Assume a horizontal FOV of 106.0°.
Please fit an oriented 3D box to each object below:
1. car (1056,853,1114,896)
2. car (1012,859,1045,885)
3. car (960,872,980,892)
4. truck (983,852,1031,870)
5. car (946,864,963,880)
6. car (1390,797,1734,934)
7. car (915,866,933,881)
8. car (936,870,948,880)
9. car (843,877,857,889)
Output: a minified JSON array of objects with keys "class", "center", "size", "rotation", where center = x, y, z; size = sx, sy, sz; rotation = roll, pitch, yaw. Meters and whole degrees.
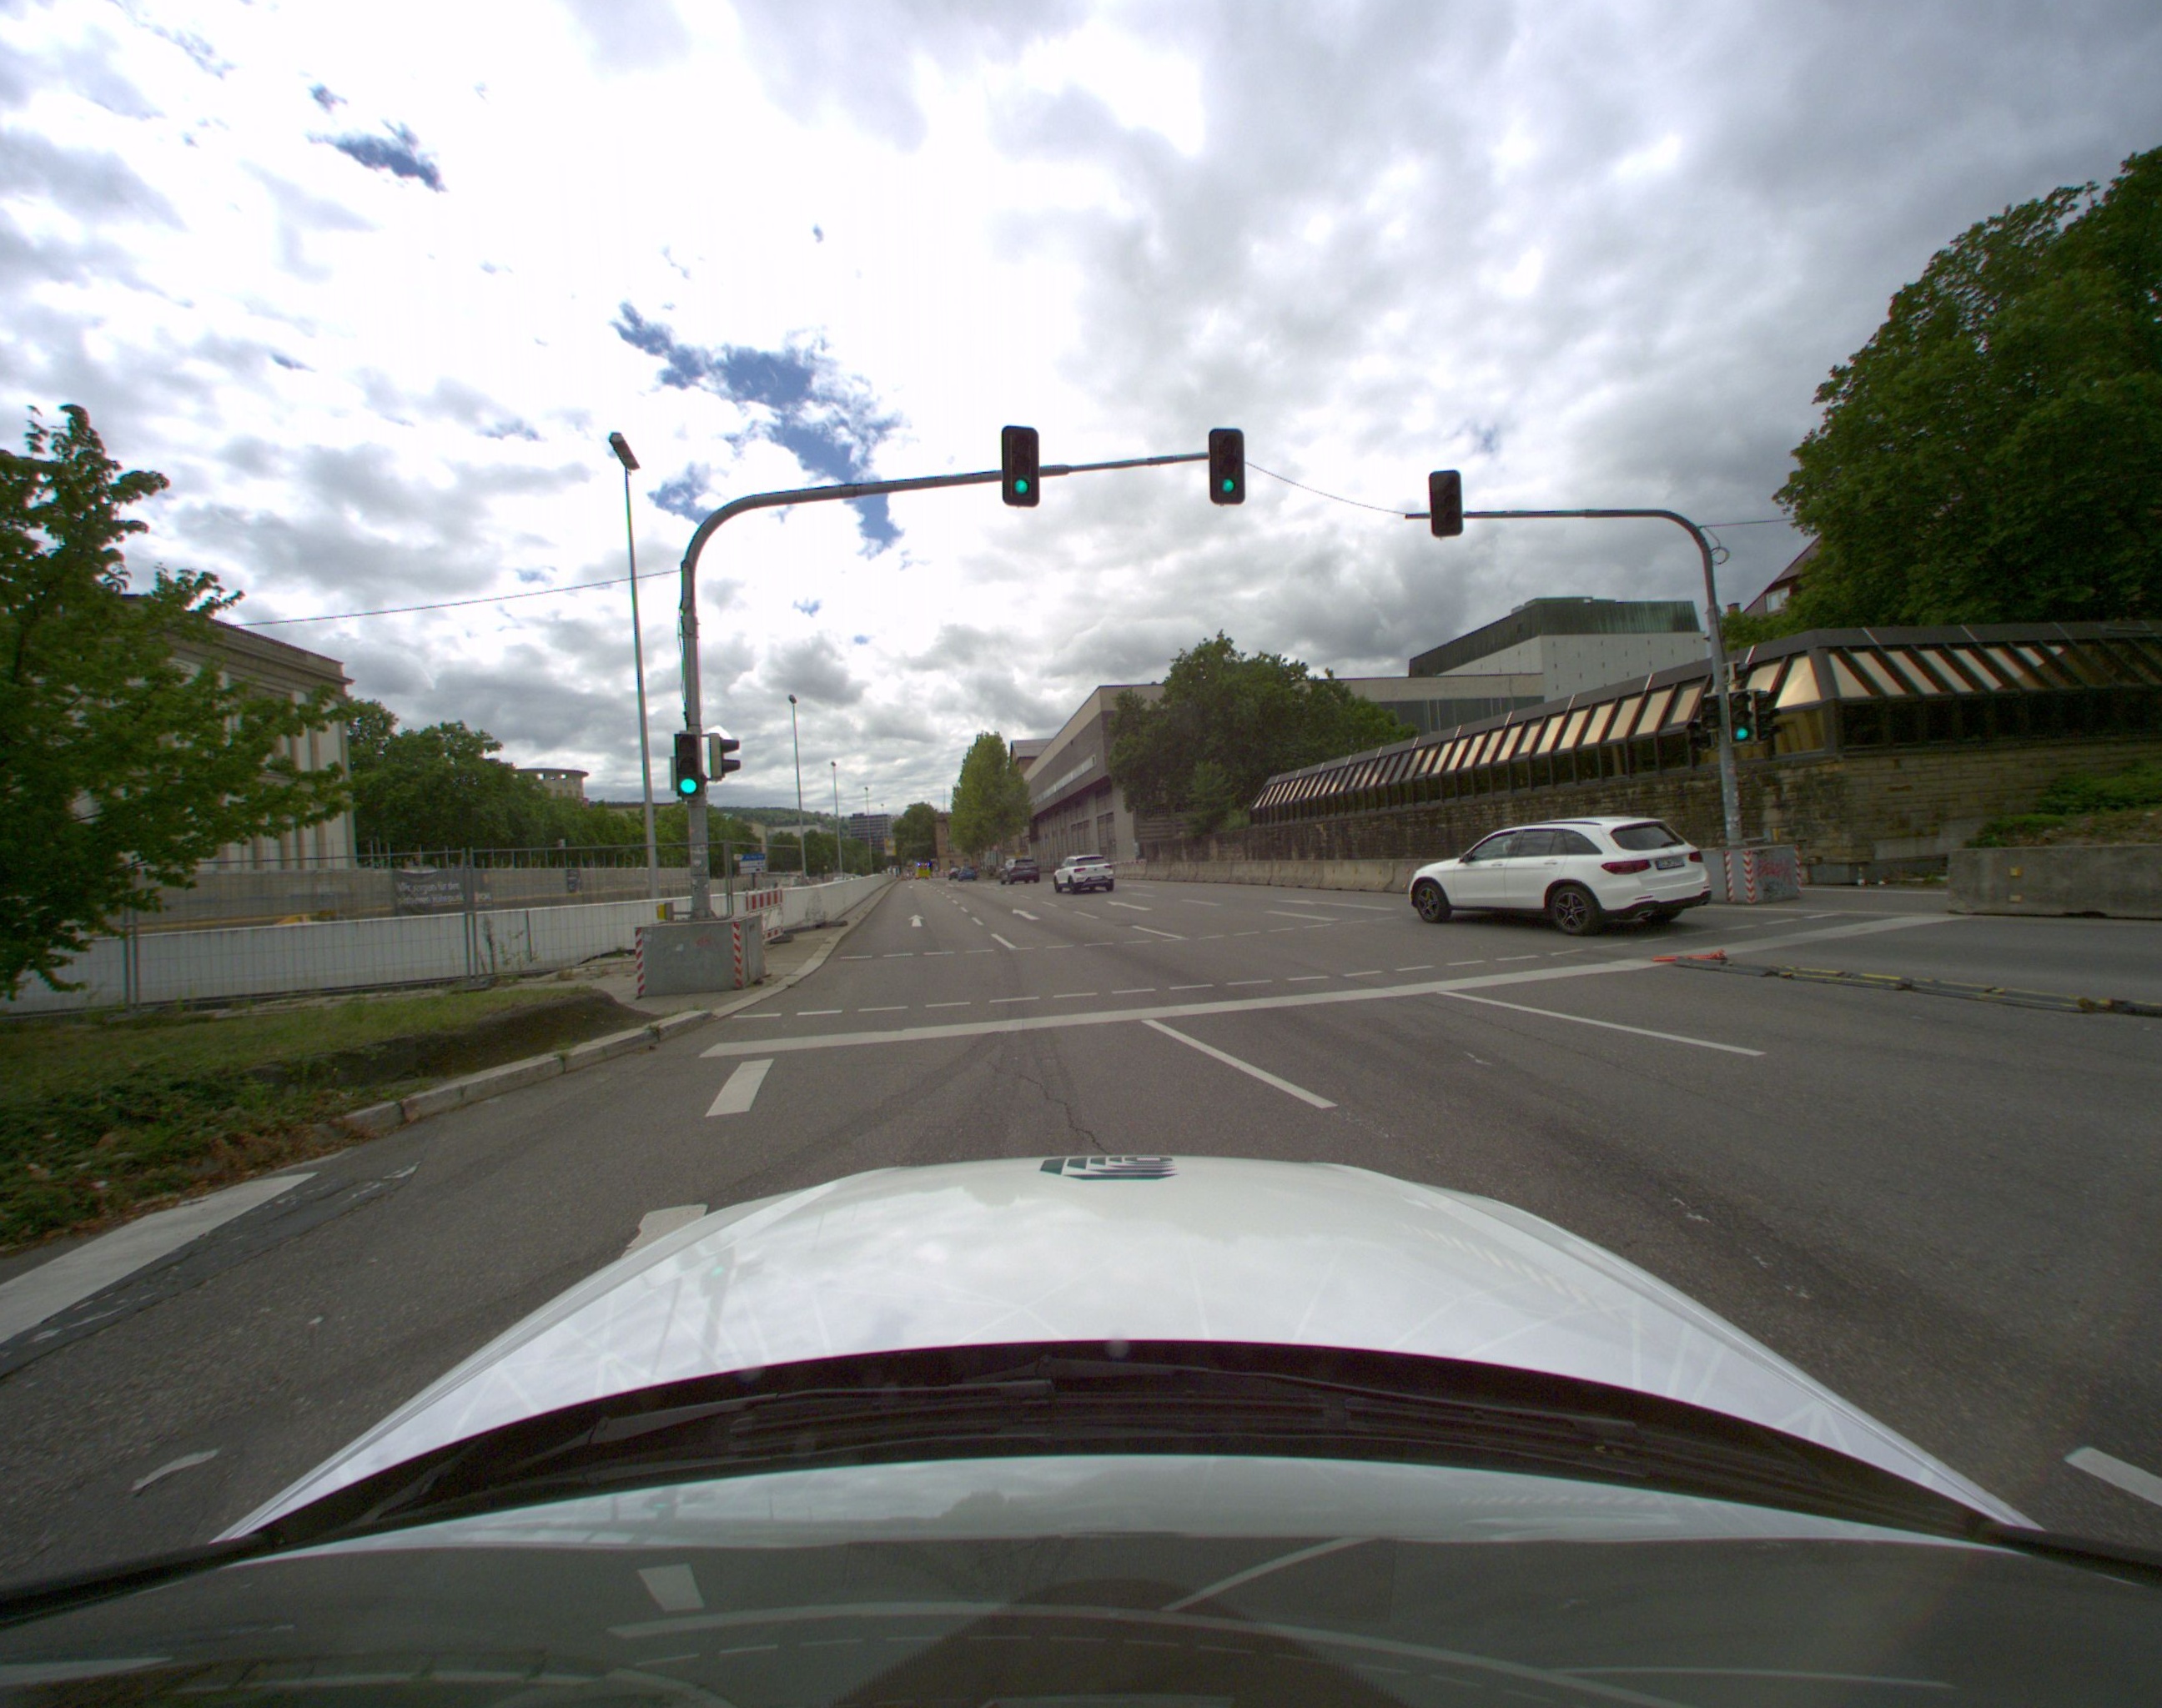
[{"class":"car","center":[0.101,0.832,34.774],"size":[1.750,1.567,4.318],"rotation":[-5,1,-9]},{"class":"car","center":[-3.407,1.195,53.944],"size":[1.818,1.568,4.478],"rotation":[-3,-2,0]},{"class":"car","center":[-11.056,2.740,81.408],"size":[1.822,1.740,4.468],"rotation":[-5,-1,-7]},{"class":"truck","center":[-16.000,1.557,176.720],"size":[10.037,3.050,2.558],"rotation":[-4,-2,-12]},{"class":"car","center":[-15.484,2.239,99.642],"size":[1.822,1.740,4.468],"rotation":[-5,-1,-7]},{"class":"car","center":[7.313,0.218,13.034],"size":[1.818,1.642,4.522],"rotation":[-6,0,-19]},{"class":"car","center":[-27.579,3.347,143.439],"size":[2.581,2.374,5.511],"rotation":[-5,-1,-8]},{"class":"car","center":[-26.525,4.076,155.641],"size":[1.822,1.740,4.468],"rotation":[-5,-1,-7]},{"class":"car","center":[-41.939,5.242,148.010],"size":[1.996,2.013,3.983],"rotation":[-4,1,-13]}]
